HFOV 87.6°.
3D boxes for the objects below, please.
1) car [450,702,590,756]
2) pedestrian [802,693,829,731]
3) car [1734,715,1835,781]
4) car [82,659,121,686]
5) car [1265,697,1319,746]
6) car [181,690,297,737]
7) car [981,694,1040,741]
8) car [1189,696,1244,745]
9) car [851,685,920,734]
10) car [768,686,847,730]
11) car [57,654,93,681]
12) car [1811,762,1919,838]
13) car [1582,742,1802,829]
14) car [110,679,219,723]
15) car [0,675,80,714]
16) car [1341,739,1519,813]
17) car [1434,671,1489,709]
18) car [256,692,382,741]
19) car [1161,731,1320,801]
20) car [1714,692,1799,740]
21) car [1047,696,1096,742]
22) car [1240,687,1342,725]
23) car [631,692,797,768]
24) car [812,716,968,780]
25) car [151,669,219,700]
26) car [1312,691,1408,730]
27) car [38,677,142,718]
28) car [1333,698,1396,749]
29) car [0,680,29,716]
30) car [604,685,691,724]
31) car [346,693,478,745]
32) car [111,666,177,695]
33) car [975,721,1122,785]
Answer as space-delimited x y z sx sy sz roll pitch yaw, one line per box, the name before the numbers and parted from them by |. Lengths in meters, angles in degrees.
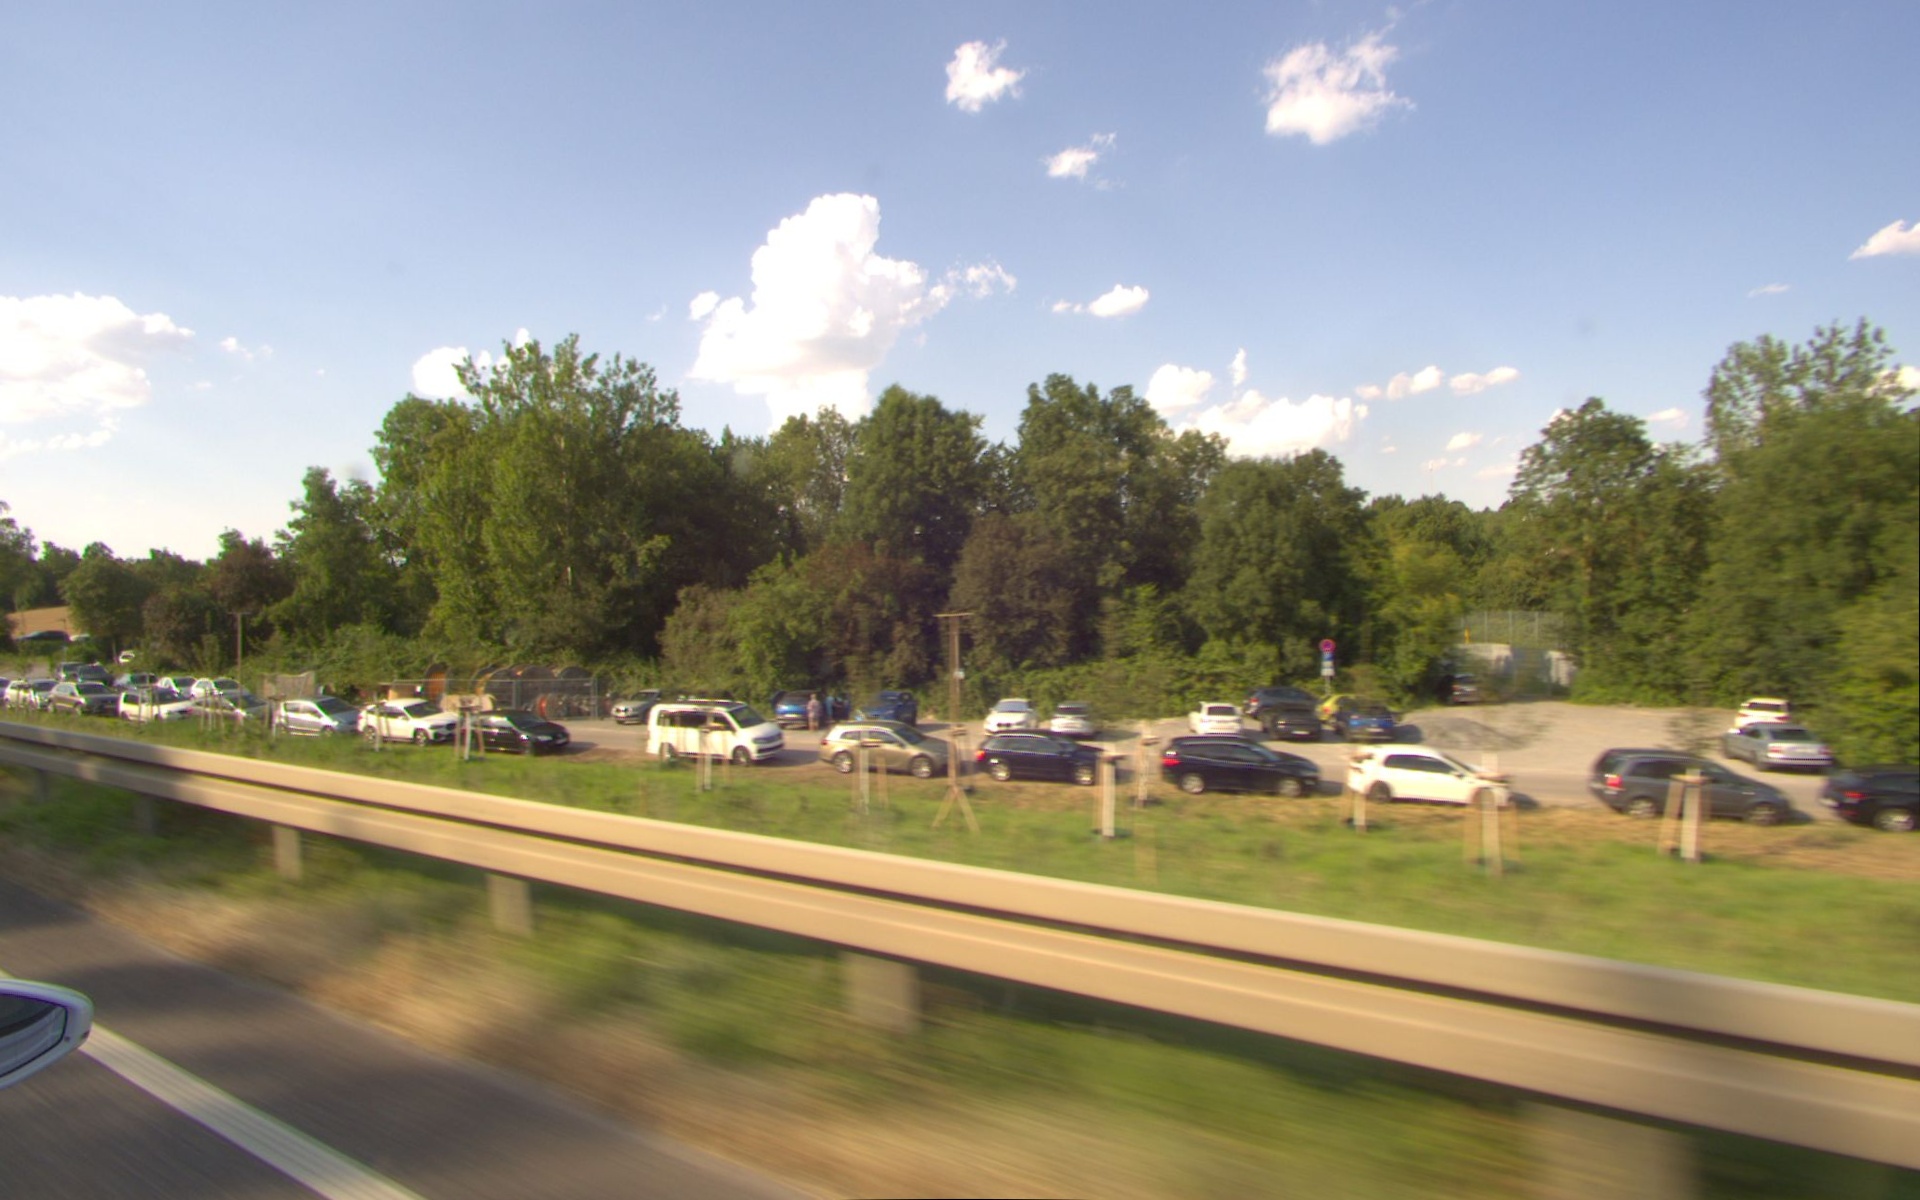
car | -16.440 4.778 37.451 4.697 1.503 1.893 0 3 18
pedestrian | -6.188 4.767 42.759 0.907 1.491 0.884 -1 3 -27
car | 26.480 4.690 32.289 1.592 1.475 4.230 -1 0 27
car | -56.034 4.693 65.318 1.689 1.418 4.738 -3 2 -43
car | 13.194 4.792 40.003 1.587 1.475 4.244 1 -1 12
car | -32.042 5.015 44.522 4.700 1.581 1.892 1 3 22
car | 2.146 4.826 41.514 1.739 1.517 4.245 1 -2 13
car | 10.274 4.815 40.345 1.701 1.475 4.415 1 -1 9
car | -3.208 4.743 43.829 1.799 1.765 4.245 1 -1 13
car | -6.795 4.813 45.038 1.801 1.625 4.242 0 -2 18
car | -61.036 4.651 69.028 1.689 1.418 4.059 -3 4 -43
car | 23.681 4.902 24.322 4.177 1.420 1.821 0 1 14
car | 18.877 4.768 26.042 4.177 1.681 1.821 0 2 14
car | -37.485 4.736 47.170 4.700 1.581 1.892 1 3 22
car | -48.212 4.892 52.149 4.705 1.580 1.891 1 1 26
car | 12.905 4.831 27.764 4.177 1.502 1.821 0 1 14
car | 26.692 4.740 53.394 1.587 1.476 4.241 1 2 12
car | -26.907 4.849 42.049 4.697 1.581 1.893 0 3 18
car | 8.096 4.789 29.183 4.313 1.502 1.821 0 1 14
car | 32.621 4.720 41.134 1.684 1.475 4.235 1 0 24
car | 4.593 4.812 40.899 1.587 1.474 4.246 0 -2 12
car | 15.130 4.842 45.923 4.165 1.475 1.617 0 1 7
car | -8.517 4.453 34.756 5.283 2.046 2.120 0 3 18
car | -2.271 4.769 32.705 4.697 1.503 1.893 0 3 18
car | -43.836 4.765 56.609 3.887 1.418 1.697 -1 2 31
car | 17.463 4.828 43.850 3.604 1.475 1.498 0 1 7
car | -43.112 4.795 49.647 4.700 1.581 1.892 1 3 22
car | 15.963 4.824 39.712 1.587 1.475 4.243 1 0 12
car | -52.703 5.269 54.143 4.705 1.581 1.890 1 3 26
car | -14.589 4.856 46.996 1.801 1.509 4.241 0 -2 18
car | -21.903 4.719 40.033 4.697 1.581 1.893 0 3 18
car | -48.359 4.738 59.296 4.718 1.418 1.696 -1 2 34
car | 2.783 4.730 31.200 4.313 1.502 1.821 0 1 14
